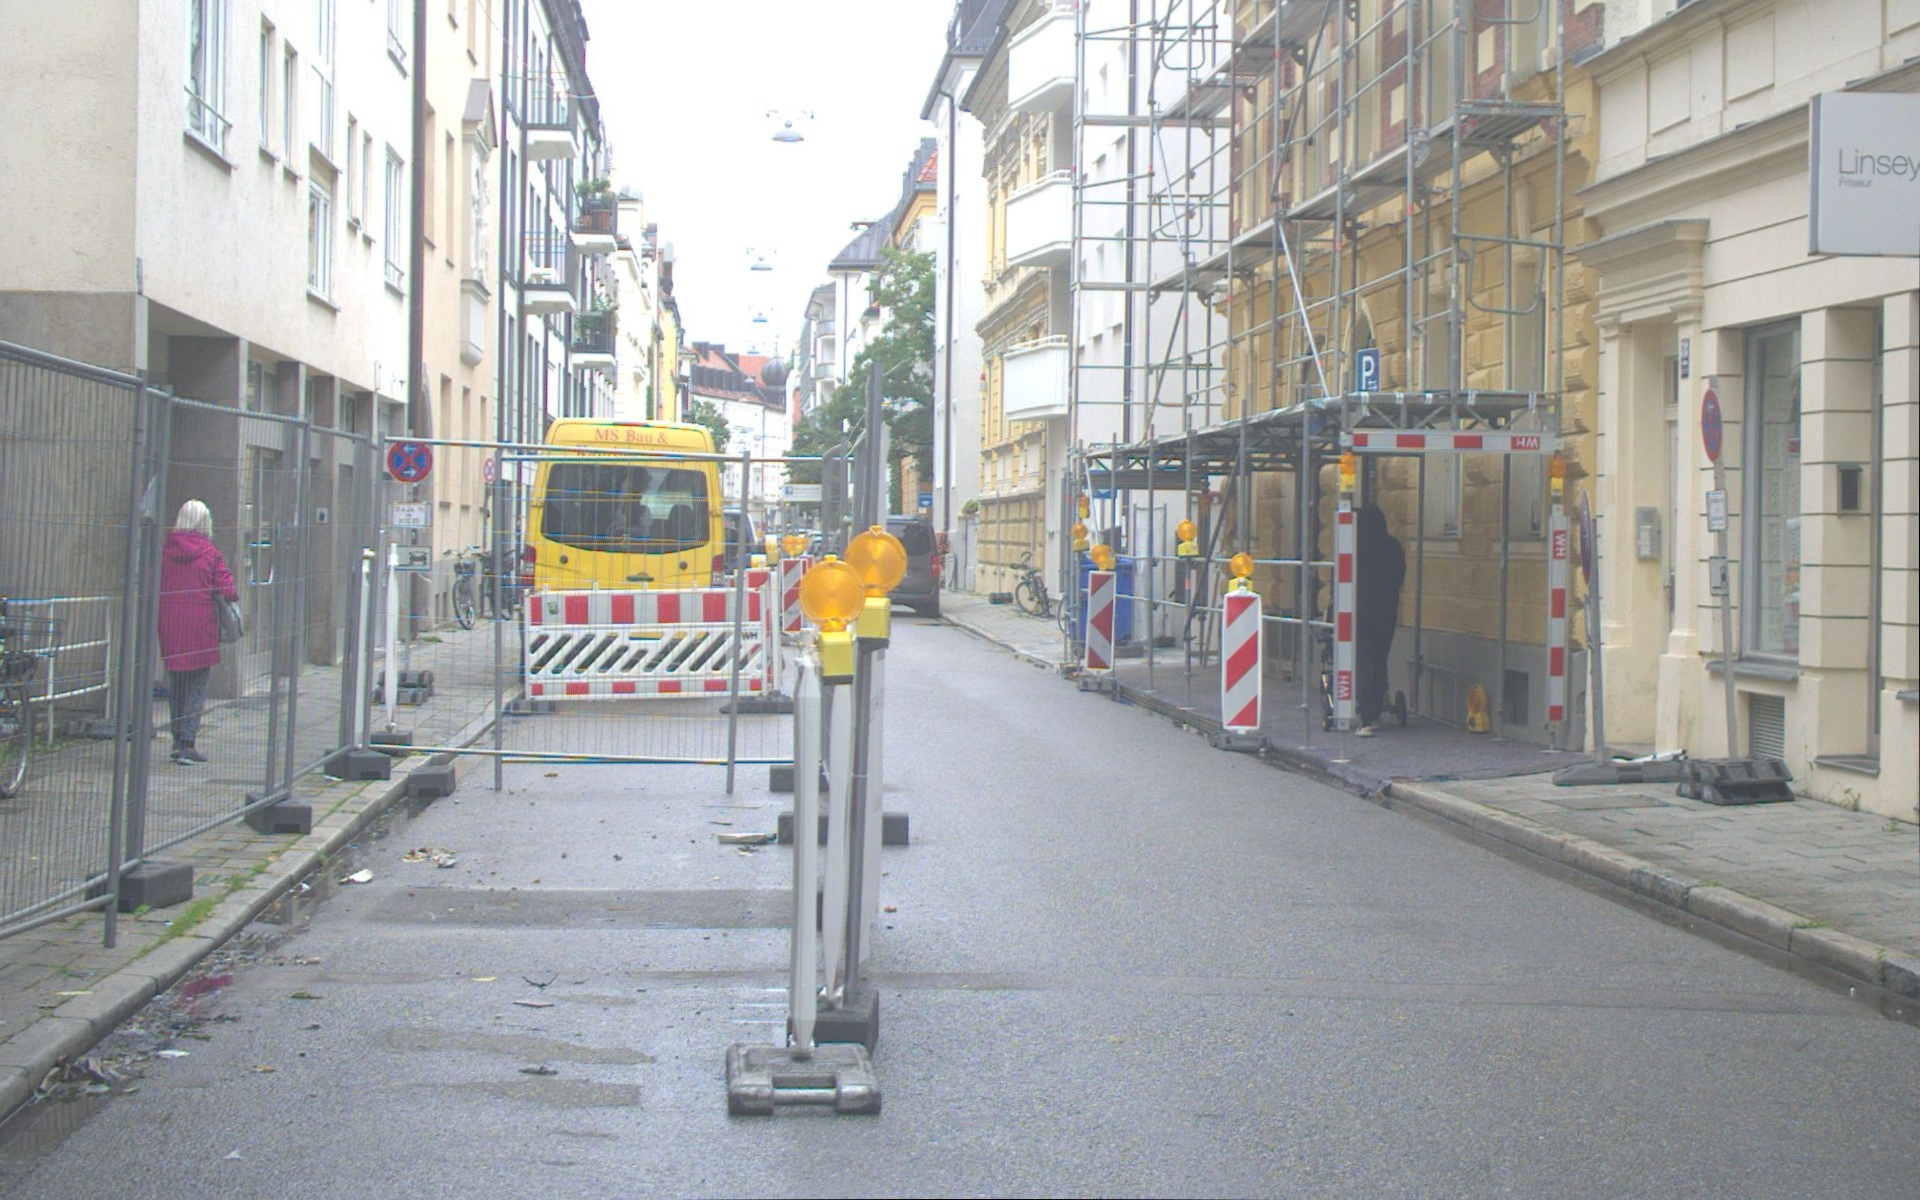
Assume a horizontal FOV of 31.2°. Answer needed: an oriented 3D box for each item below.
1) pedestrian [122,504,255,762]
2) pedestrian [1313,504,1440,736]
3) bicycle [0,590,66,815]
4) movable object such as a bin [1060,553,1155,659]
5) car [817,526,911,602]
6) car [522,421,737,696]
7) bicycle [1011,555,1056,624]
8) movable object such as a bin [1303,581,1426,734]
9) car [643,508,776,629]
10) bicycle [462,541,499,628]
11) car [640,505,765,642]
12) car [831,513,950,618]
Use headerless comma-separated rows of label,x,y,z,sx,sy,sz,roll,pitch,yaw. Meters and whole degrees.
pedestrian,-4.664,0.188,20.814,0.638,1.526,0.747,1,1,-2
pedestrian,3.236,0.143,26.812,0.729,1.746,0.988,-3,1,-4
bicycle,-4.870,0.511,17.120,0.377,1.059,1.598,7,1,-3
movable object such as a bin,1.971,0.073,45.662,1.087,1.341,1.317,-2,1,9
car,-2.197,-0.835,77.647,1.893,1.635,4.322,1,1,-5
car,-3.366,-0.451,35.634,1.993,2.570,6.738,0,1,-4
bicycle,1.301,-0.196,61.165,0.638,1.149,1.915,-2,2,-3
movable object such as a bin,3.202,0.447,27.311,0.729,1.137,0.988,-3,1,-5
car,-4.222,-0.543,57.308,1.904,1.891,5.090,1,1,-7
bicycle,-7.041,-0.242,50.446,0.381,1.184,2.137,2,2,-11
car,-3.788,-0.416,50.773,1.727,1.891,5.510,-1,1,-4
car,-1.408,-0.706,67.835,1.993,1.925,4.661,2,1,-5
